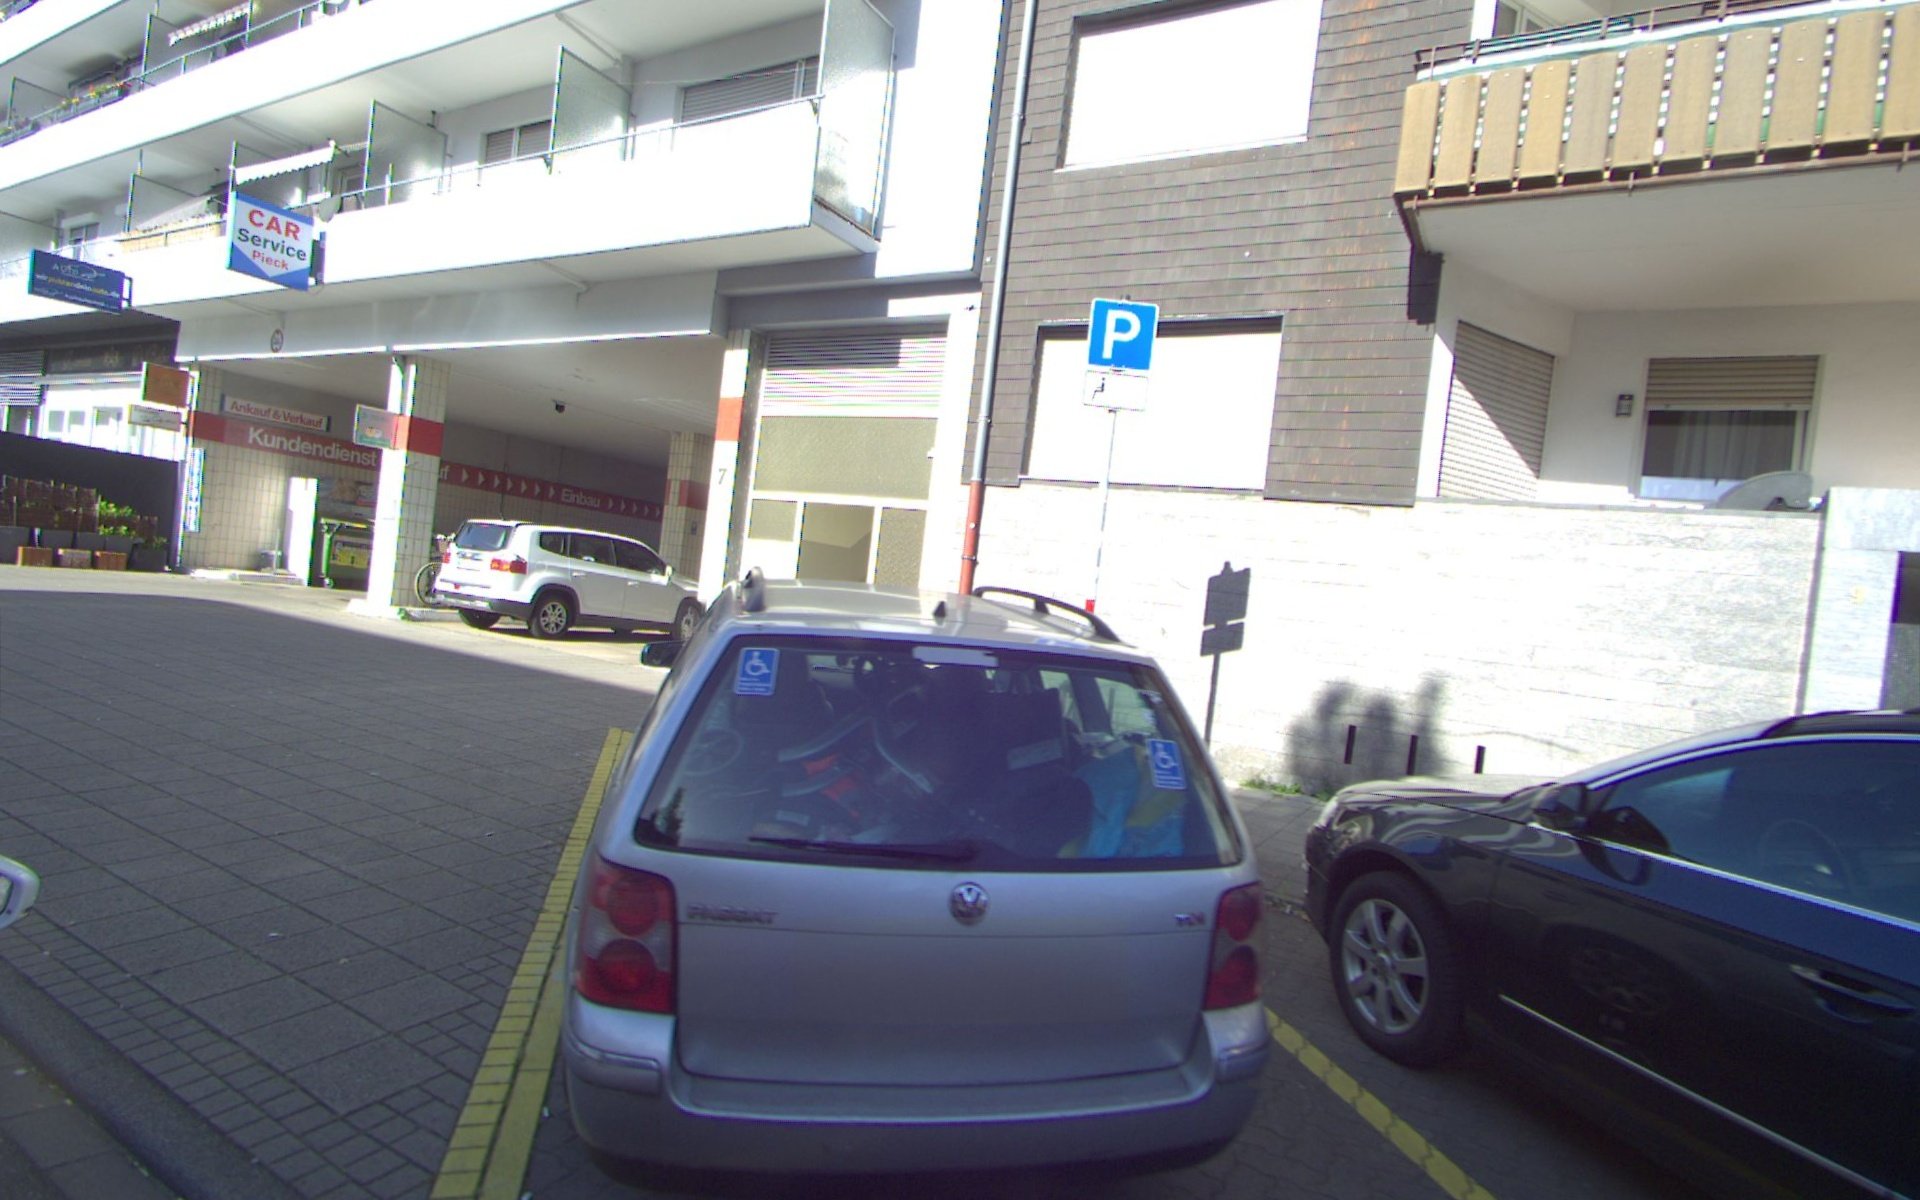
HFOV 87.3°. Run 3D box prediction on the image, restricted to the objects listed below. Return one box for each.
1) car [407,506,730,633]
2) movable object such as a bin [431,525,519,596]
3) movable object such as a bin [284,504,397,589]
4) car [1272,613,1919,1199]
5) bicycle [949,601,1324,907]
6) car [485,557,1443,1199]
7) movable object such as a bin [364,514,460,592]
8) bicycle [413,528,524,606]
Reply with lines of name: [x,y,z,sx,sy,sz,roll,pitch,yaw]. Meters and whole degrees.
car: [-5.929,-0.391,15.796,1.946,1.532,4.395,6,1,30]
movable object such as a bin: [-11.058,-0.900,22.963,1.166,1.437,1.292,5,-1,32]
movable object such as a bin: [-12.592,-1.080,20.475,1.243,1.518,1.464,5,-1,30]
car: [2.697,0.965,2.213,1.728,1.532,4.314,6,1,-14]
bicycle: [0.882,0.769,5.866,0.699,1.269,2.242,7,1,-32]
car: [-0.399,0.690,4.073,1.662,1.485,4.635,5,1,-12]
movable object such as a bin: [-11.826,-1.001,21.729,1.143,1.484,1.331,5,-1,31]
bicycle: [-7.967,-0.513,16.374,0.459,1.090,1.568,5,-1,31]
